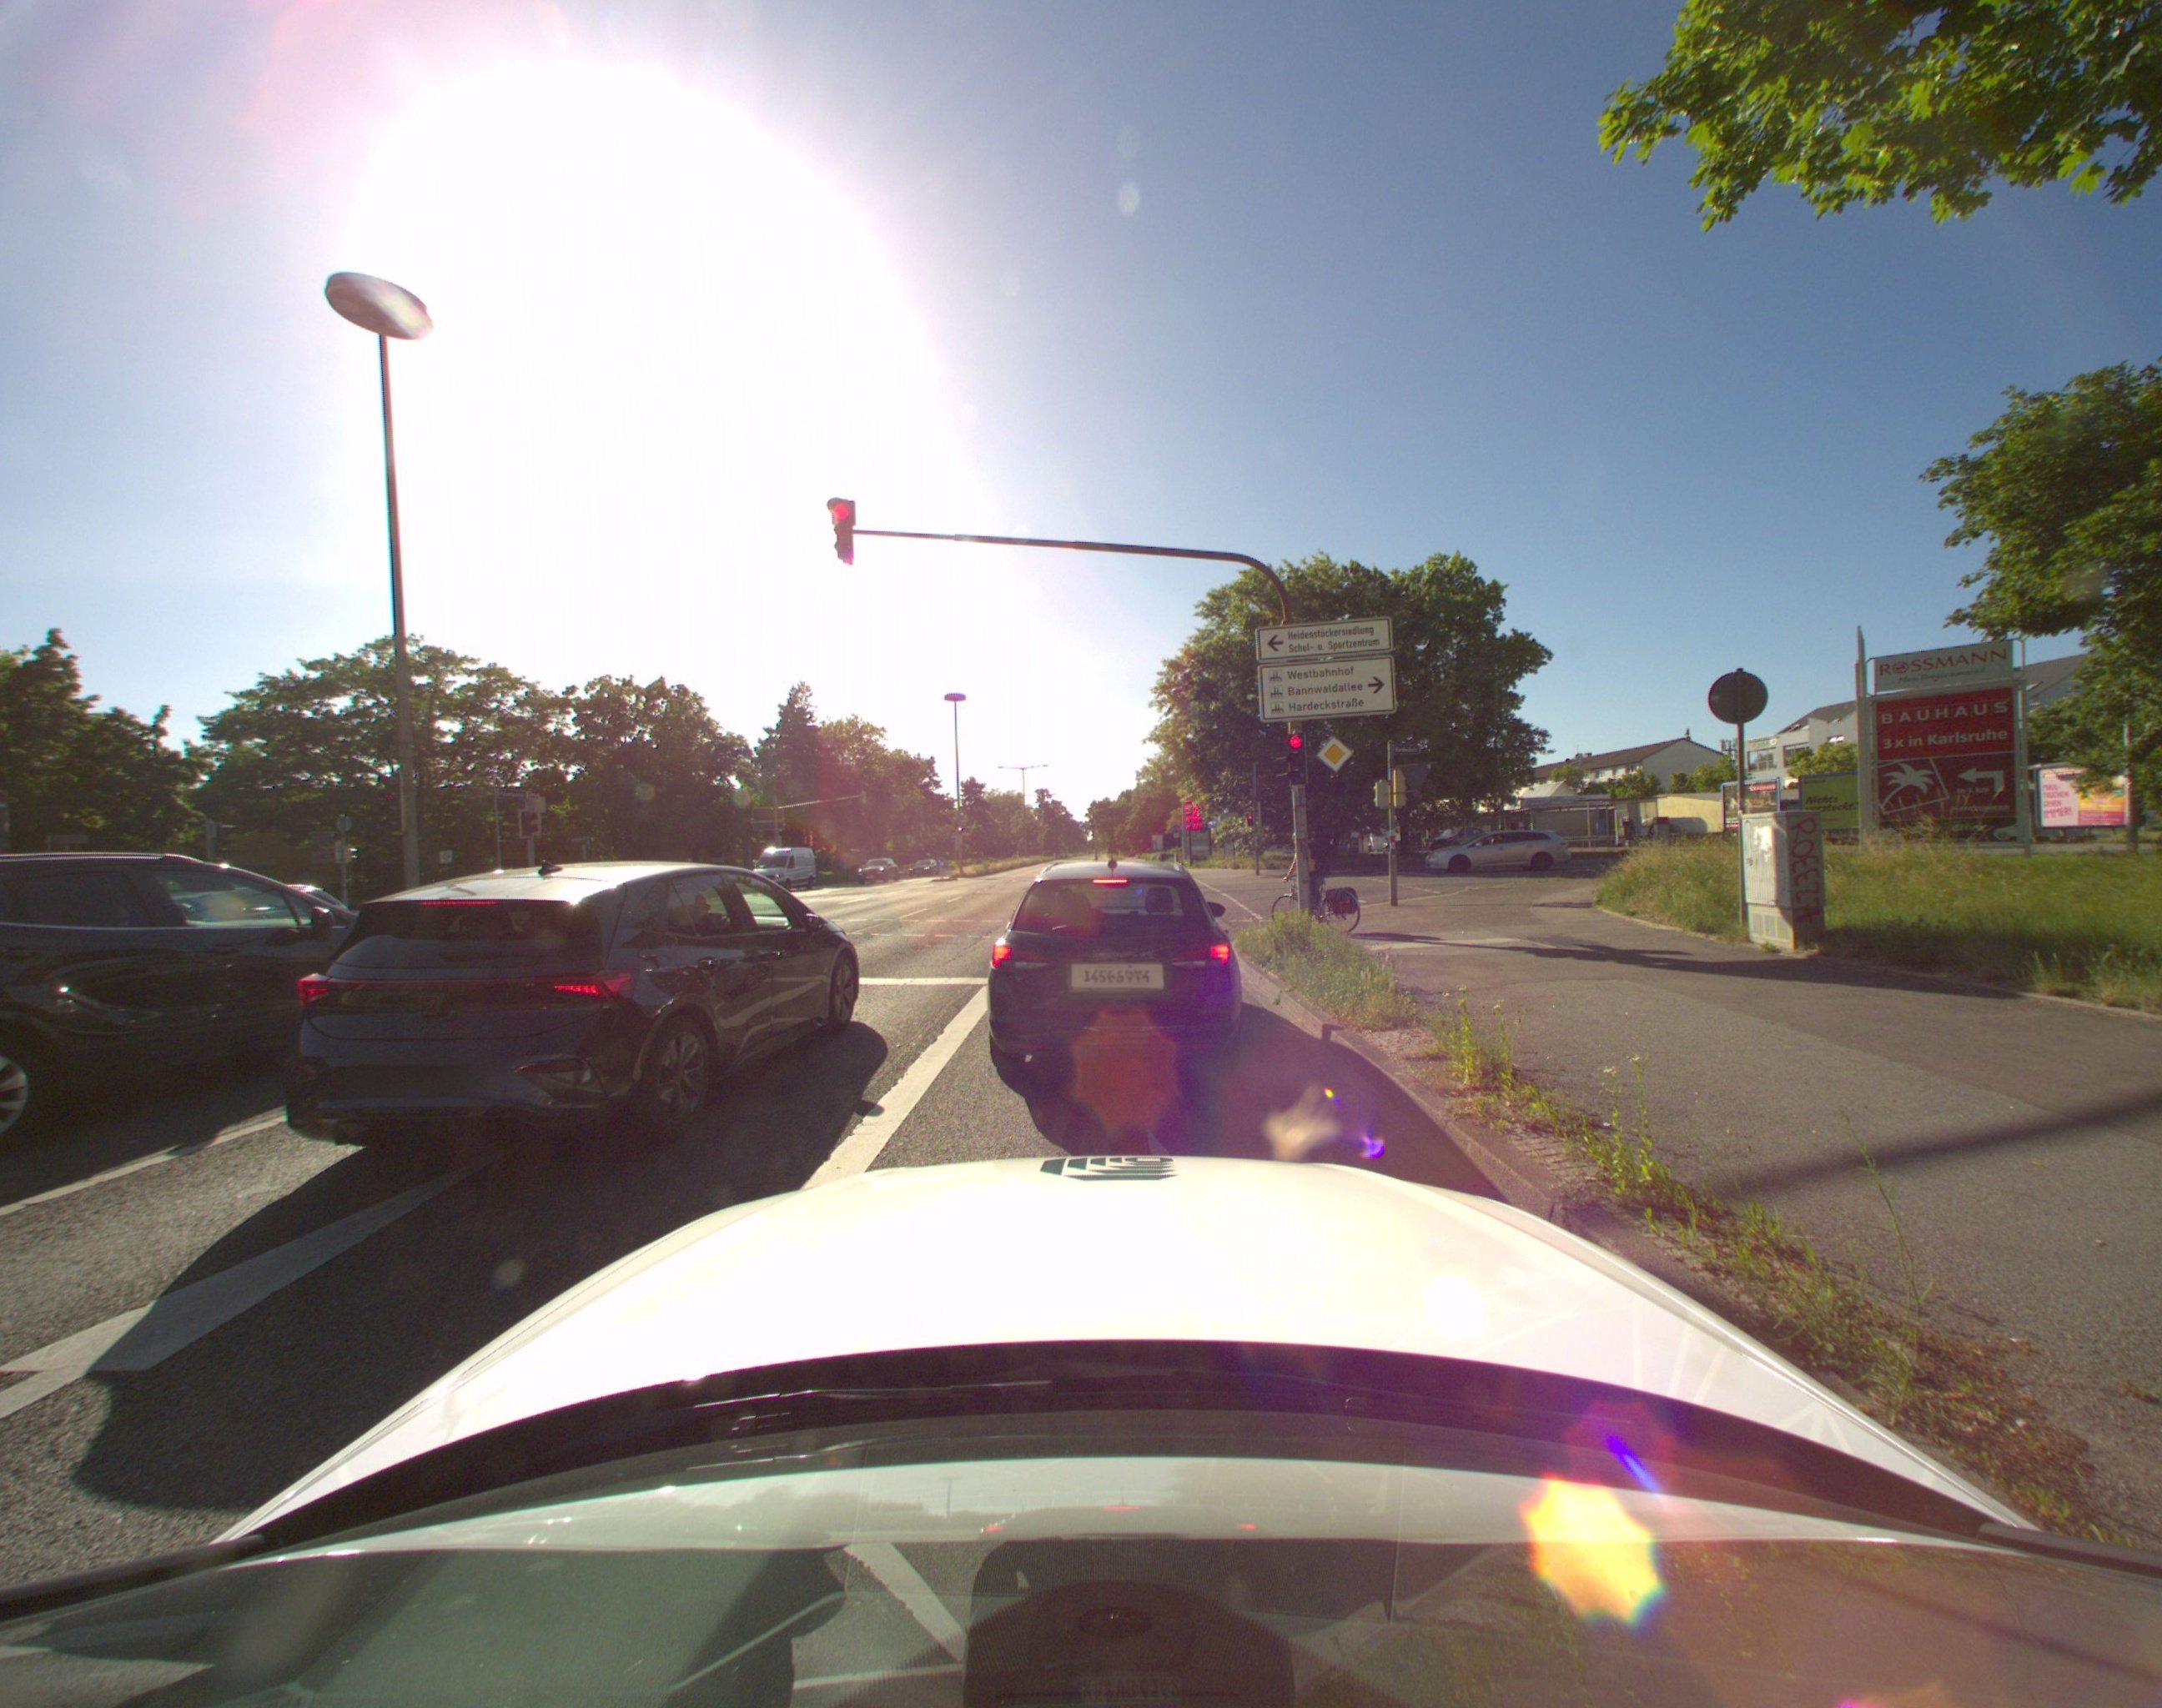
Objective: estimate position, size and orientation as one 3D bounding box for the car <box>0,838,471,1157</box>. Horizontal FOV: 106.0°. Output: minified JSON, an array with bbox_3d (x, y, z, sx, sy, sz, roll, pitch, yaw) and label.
[{"bbox_3d":[-6.615,0.796,5.515,1.798,1.689,4.002,-3,0,2],"label":"car"}]

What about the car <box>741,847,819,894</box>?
[{"bbox_3d":[-17.581,0.882,48.023,2.092,2.492,6.006,-3,0,2],"label":"car"}]

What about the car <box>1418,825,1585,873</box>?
[{"bbox_3d":[14.965,-0.170,29.292,4.969,1.486,2.007,-2,0,13],"label":"car"}]

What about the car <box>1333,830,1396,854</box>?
[{"bbox_3d":[19.660,-0.830,56.432,3.903,1.517,1.733,-3,0,-21],"label":"car"}]

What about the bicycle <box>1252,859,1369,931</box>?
[{"bbox_3d":[3.735,0.691,13.369,0.541,1.097,1.755,-3,-2,-42],"label":"bicycle"}]

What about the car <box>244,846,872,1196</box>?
[{"bbox_3d":[-2.955,0.779,5.852,1.678,1.580,4.208,-1,0,2],"label":"car"}]

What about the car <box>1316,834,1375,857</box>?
[{"bbox_3d":[19.325,-0.623,59.524,3.903,1.517,1.733,-3,0,-21],"label":"car"}]

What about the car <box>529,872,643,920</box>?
[{"bbox_3d":[-18.433,1.508,30.574,1.680,1.509,4.005,-3,0,2],"label":"car"}]

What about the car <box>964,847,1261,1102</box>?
[{"bbox_3d":[0.254,0.731,6.961,1.750,1.495,4.208,-1,0,2],"label":"car"}]

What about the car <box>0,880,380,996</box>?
[{"bbox_3d":[-14.923,1.277,13.945,1.680,1.433,4.617,-3,0,2],"label":"car"}]

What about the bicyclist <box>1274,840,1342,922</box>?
[{"bbox_3d":[3.722,0.449,13.372,0.541,1.277,0.819,-3,-2,-42],"label":"bicyclist"}]

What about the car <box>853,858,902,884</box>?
[{"bbox_3d":[-14.023,1.116,56.430,1.986,1.601,4.617,-3,0,2],"label":"car"}]

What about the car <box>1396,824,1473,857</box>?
[{"bbox_3d":[21.427,-0.819,49.385,4.003,1.749,1.985,-3,0,-22],"label":"car"}]

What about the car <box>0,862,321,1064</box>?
[{"bbox_3d":[-10.219,0.997,7.917,1.824,1.702,3.999,-3,0,0],"label":"car"}]

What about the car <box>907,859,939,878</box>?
[{"bbox_3d":[-13.737,1.215,71.092,1.769,1.463,4.166,-3,0,2],"label":"car"}]

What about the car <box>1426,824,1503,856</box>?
[{"bbox_3d":[22.377,-0.822,47.525,4.002,1.680,1.733,-3,0,-21],"label":"car"}]

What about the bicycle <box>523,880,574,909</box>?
[{"bbox_3d":[-25.773,1.954,39.498,0.874,1.212,2.533,-3,0,-3],"label":"bicycle"}]

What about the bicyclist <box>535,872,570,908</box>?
[{"bbox_3d":[-25.845,1.743,39.847,0.874,1.648,1.198,-3,0,-3],"label":"bicyclist"}]
